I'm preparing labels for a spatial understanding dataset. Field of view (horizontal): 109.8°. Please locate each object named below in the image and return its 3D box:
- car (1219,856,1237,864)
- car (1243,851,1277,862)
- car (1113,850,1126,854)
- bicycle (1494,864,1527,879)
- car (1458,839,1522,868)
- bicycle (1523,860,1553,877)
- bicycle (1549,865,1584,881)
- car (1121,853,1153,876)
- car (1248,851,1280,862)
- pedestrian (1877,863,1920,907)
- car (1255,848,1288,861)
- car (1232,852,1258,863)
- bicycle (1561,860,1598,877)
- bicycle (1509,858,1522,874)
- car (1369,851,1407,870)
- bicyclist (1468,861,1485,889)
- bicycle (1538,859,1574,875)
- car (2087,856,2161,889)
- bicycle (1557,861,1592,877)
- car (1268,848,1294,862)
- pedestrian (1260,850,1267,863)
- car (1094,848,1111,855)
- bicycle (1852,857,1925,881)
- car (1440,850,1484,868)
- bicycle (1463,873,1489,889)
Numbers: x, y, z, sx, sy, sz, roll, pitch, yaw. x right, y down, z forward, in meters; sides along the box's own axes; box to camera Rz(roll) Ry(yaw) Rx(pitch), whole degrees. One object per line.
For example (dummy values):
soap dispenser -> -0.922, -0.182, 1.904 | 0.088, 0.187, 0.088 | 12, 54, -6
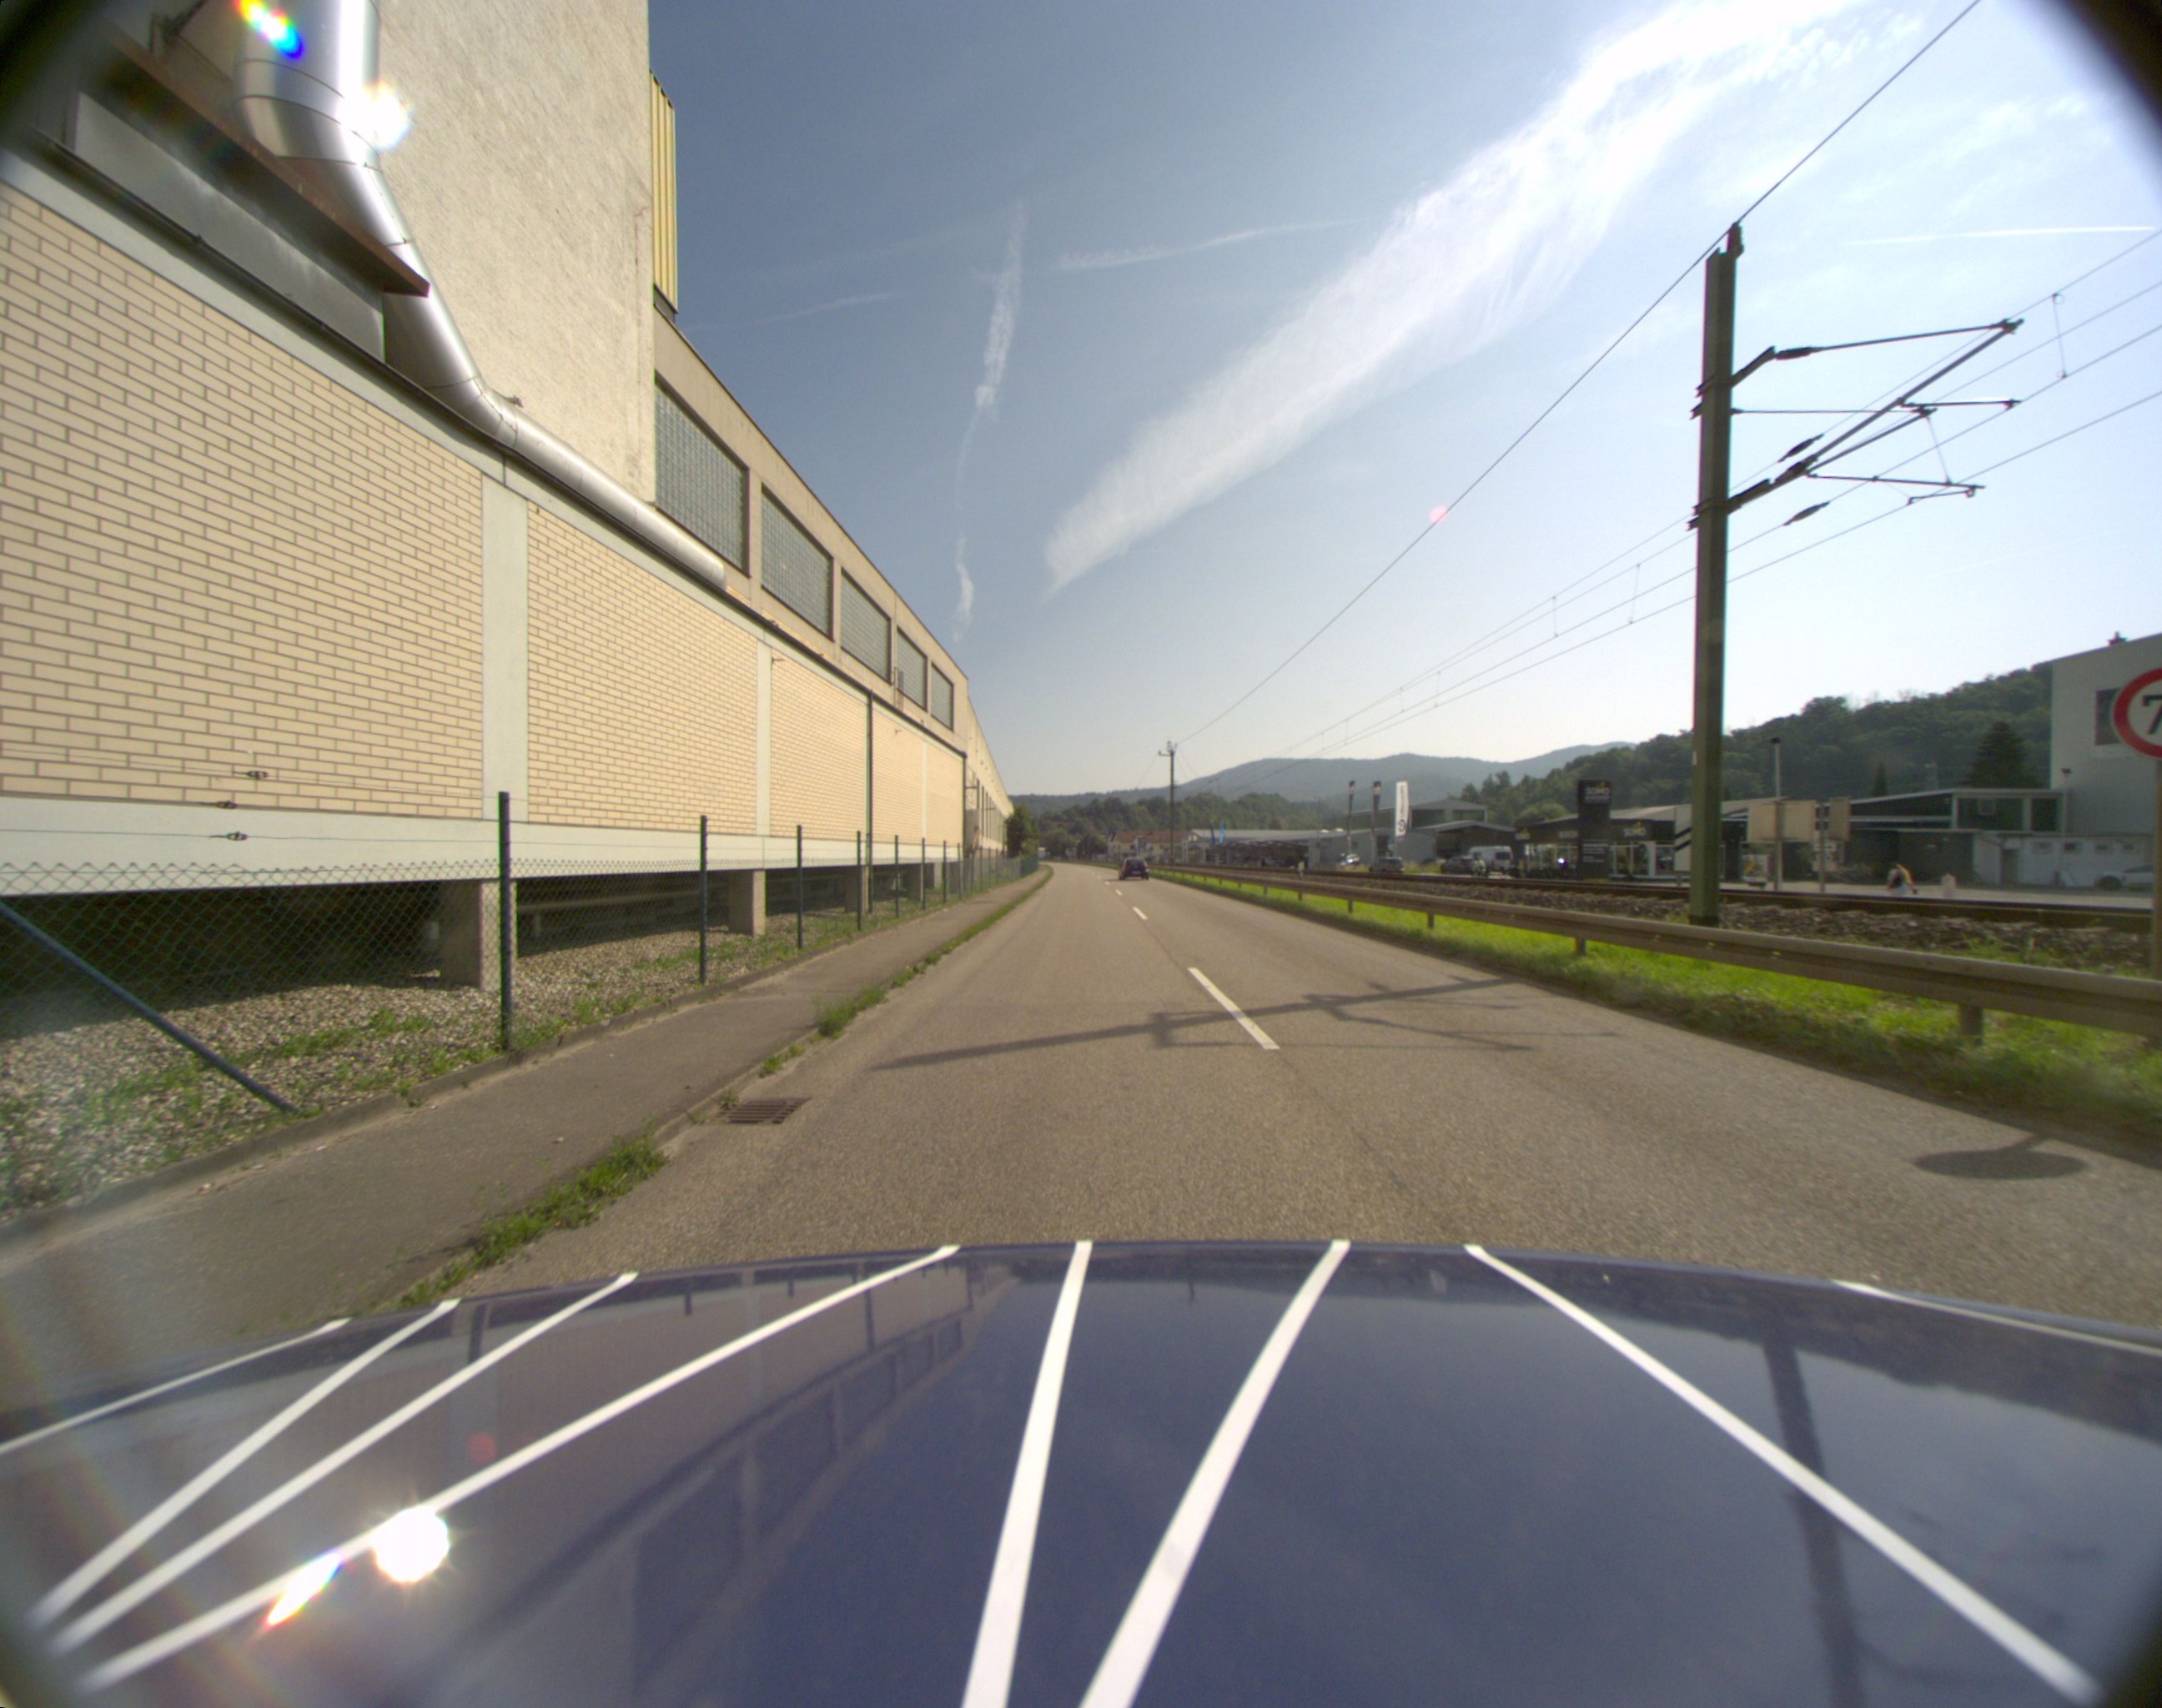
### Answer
car -> 24.789, 0.990, 127.652 | 1.842, 1.377, 4.531 | 0, 0, 26
car -> 25.944, 0.372, 110.228 | 1.851, 1.496, 4.422 | 0, 0, -41
car -> 12.433, -0.624, 243.763 | 3.859, 1.292, 1.647 | 0, 0, -11
bicycle -> 33.589, 1.394, 59.450 | 2.173, 1.124, 0.730 | 0, 1, -3
car -> 39.056, -0.095, 72.759 | 2.380, 2.618, 6.156 | 0, 2, -5
bicycle -> 32.311, 1.032, 53.743 | 0.730, 1.124, 2.173 | 0, 0, -4
bicycle -> 34.180, 1.337, 53.461 | 2.175, 1.124, 0.729 | 0, 1, -12
car -> 3.587, 0.651, 49.438 | 1.768, 1.395, 4.120 | 0, 0, 0
car -> 25.527, 0.290, 105.913 | 3.968, 1.317, 1.501 | -3, 0, -5
pedestrian -> 25.107, 0.931, 23.345 | 0.575, 1.324, 0.673 | 0, 0, -7
car -> 26.009, 0.062, 103.676 | 3.968, 1.519, 1.662 | -3, 0, -5
car -> 25.246, 0.536, 116.884 | 4.279, 1.519, 1.842 | -3, 0, -44
bicycle -> 32.994, 0.936, 50.330 | 2.175, 1.124, 0.729 | 0, 1, -12
bicycle -> 32.404, 0.880, 56.610 | 0.728, 1.124, 2.327 | 1, 0, 32
car -> 29.088, 0.576, 72.111 | 1.523, 1.679, 4.368 | -1, 0, -5
bicyclist -> 23.631, 1.241, 45.351 | 0.534, 1.637, 0.831 | 0, 0, -4
bicycle -> 34.103, 0.899, 54.558 | 2.173, 1.124, 0.730 | 0, 1, -3
car -> 54.014, 0.918, 38.146 | 1.715, 1.589, 3.981 | 0, 0, 0
bicycle -> 34.213, 1.043, 52.676 | 2.175, 1.124, 0.729 | 0, 1, -12
car -> 26.136, 0.108, 99.115 | 1.658, 1.613, 4.039 | -2, 0, 39
pedestrian -> 23.808, 0.311, 99.251 | 0.834, 1.724, 0.805 | 1, 0, 16
car -> 7.524, -0.702, 261.656 | 5.590, 2.402, 2.235 | 0, 0, -9
bicycle -> 46.371, 0.861, 43.659 | 3.445, 1.281, 0.989 | -1, 1, -6
car -> 35.963, 0.445, 71.766 | 1.873, 1.654, 3.997 | 0, 1, -5
bicycle -> 23.625, 1.616, 45.470 | 0.547, 0.917, 1.709 | 0, 0, -4
